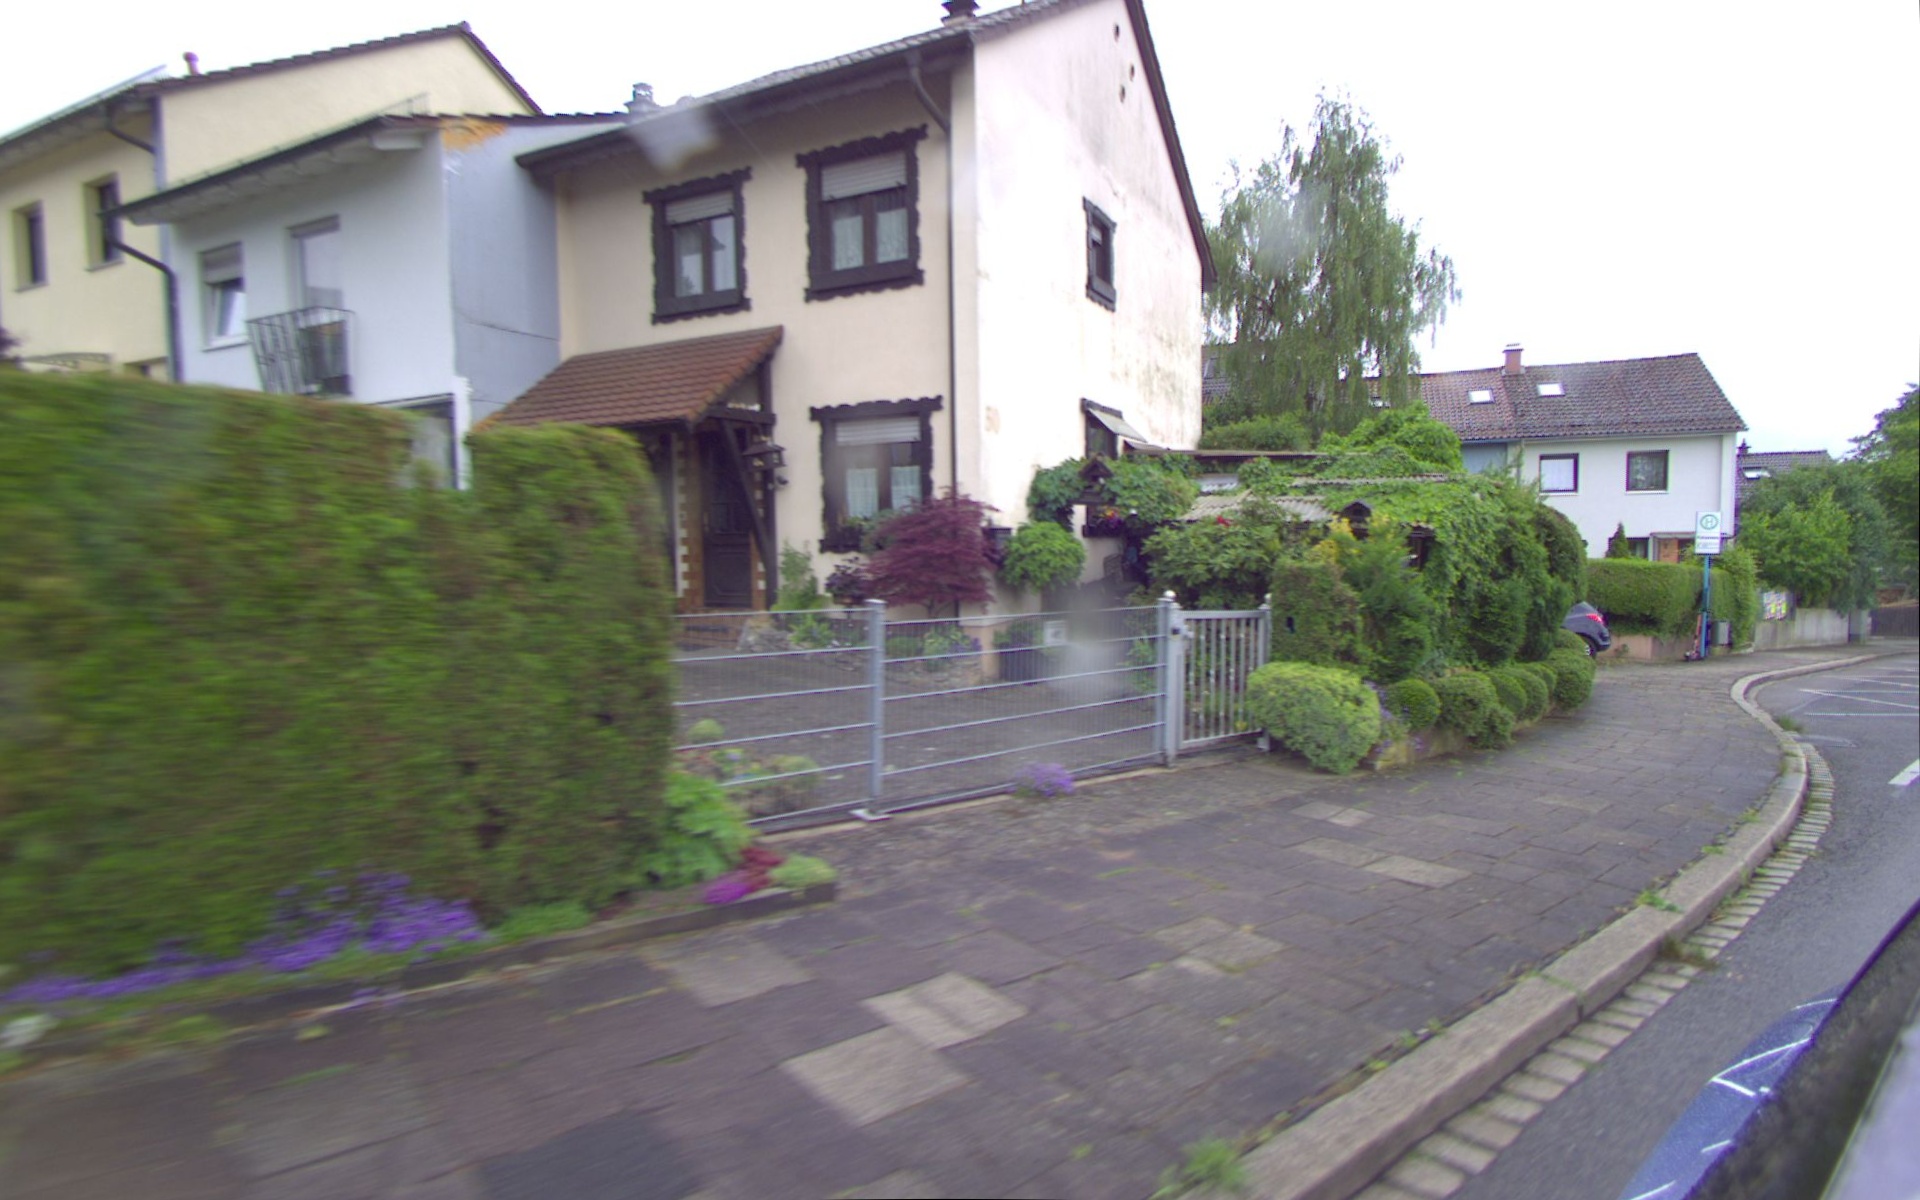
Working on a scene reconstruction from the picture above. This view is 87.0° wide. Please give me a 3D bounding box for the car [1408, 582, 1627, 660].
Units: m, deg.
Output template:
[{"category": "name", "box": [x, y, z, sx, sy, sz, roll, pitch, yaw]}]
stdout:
[{"category": "car", "box": [11.066, 0.356, 20.379, 3.671, 1.314, 1.757, 3, 2, 26]}]
